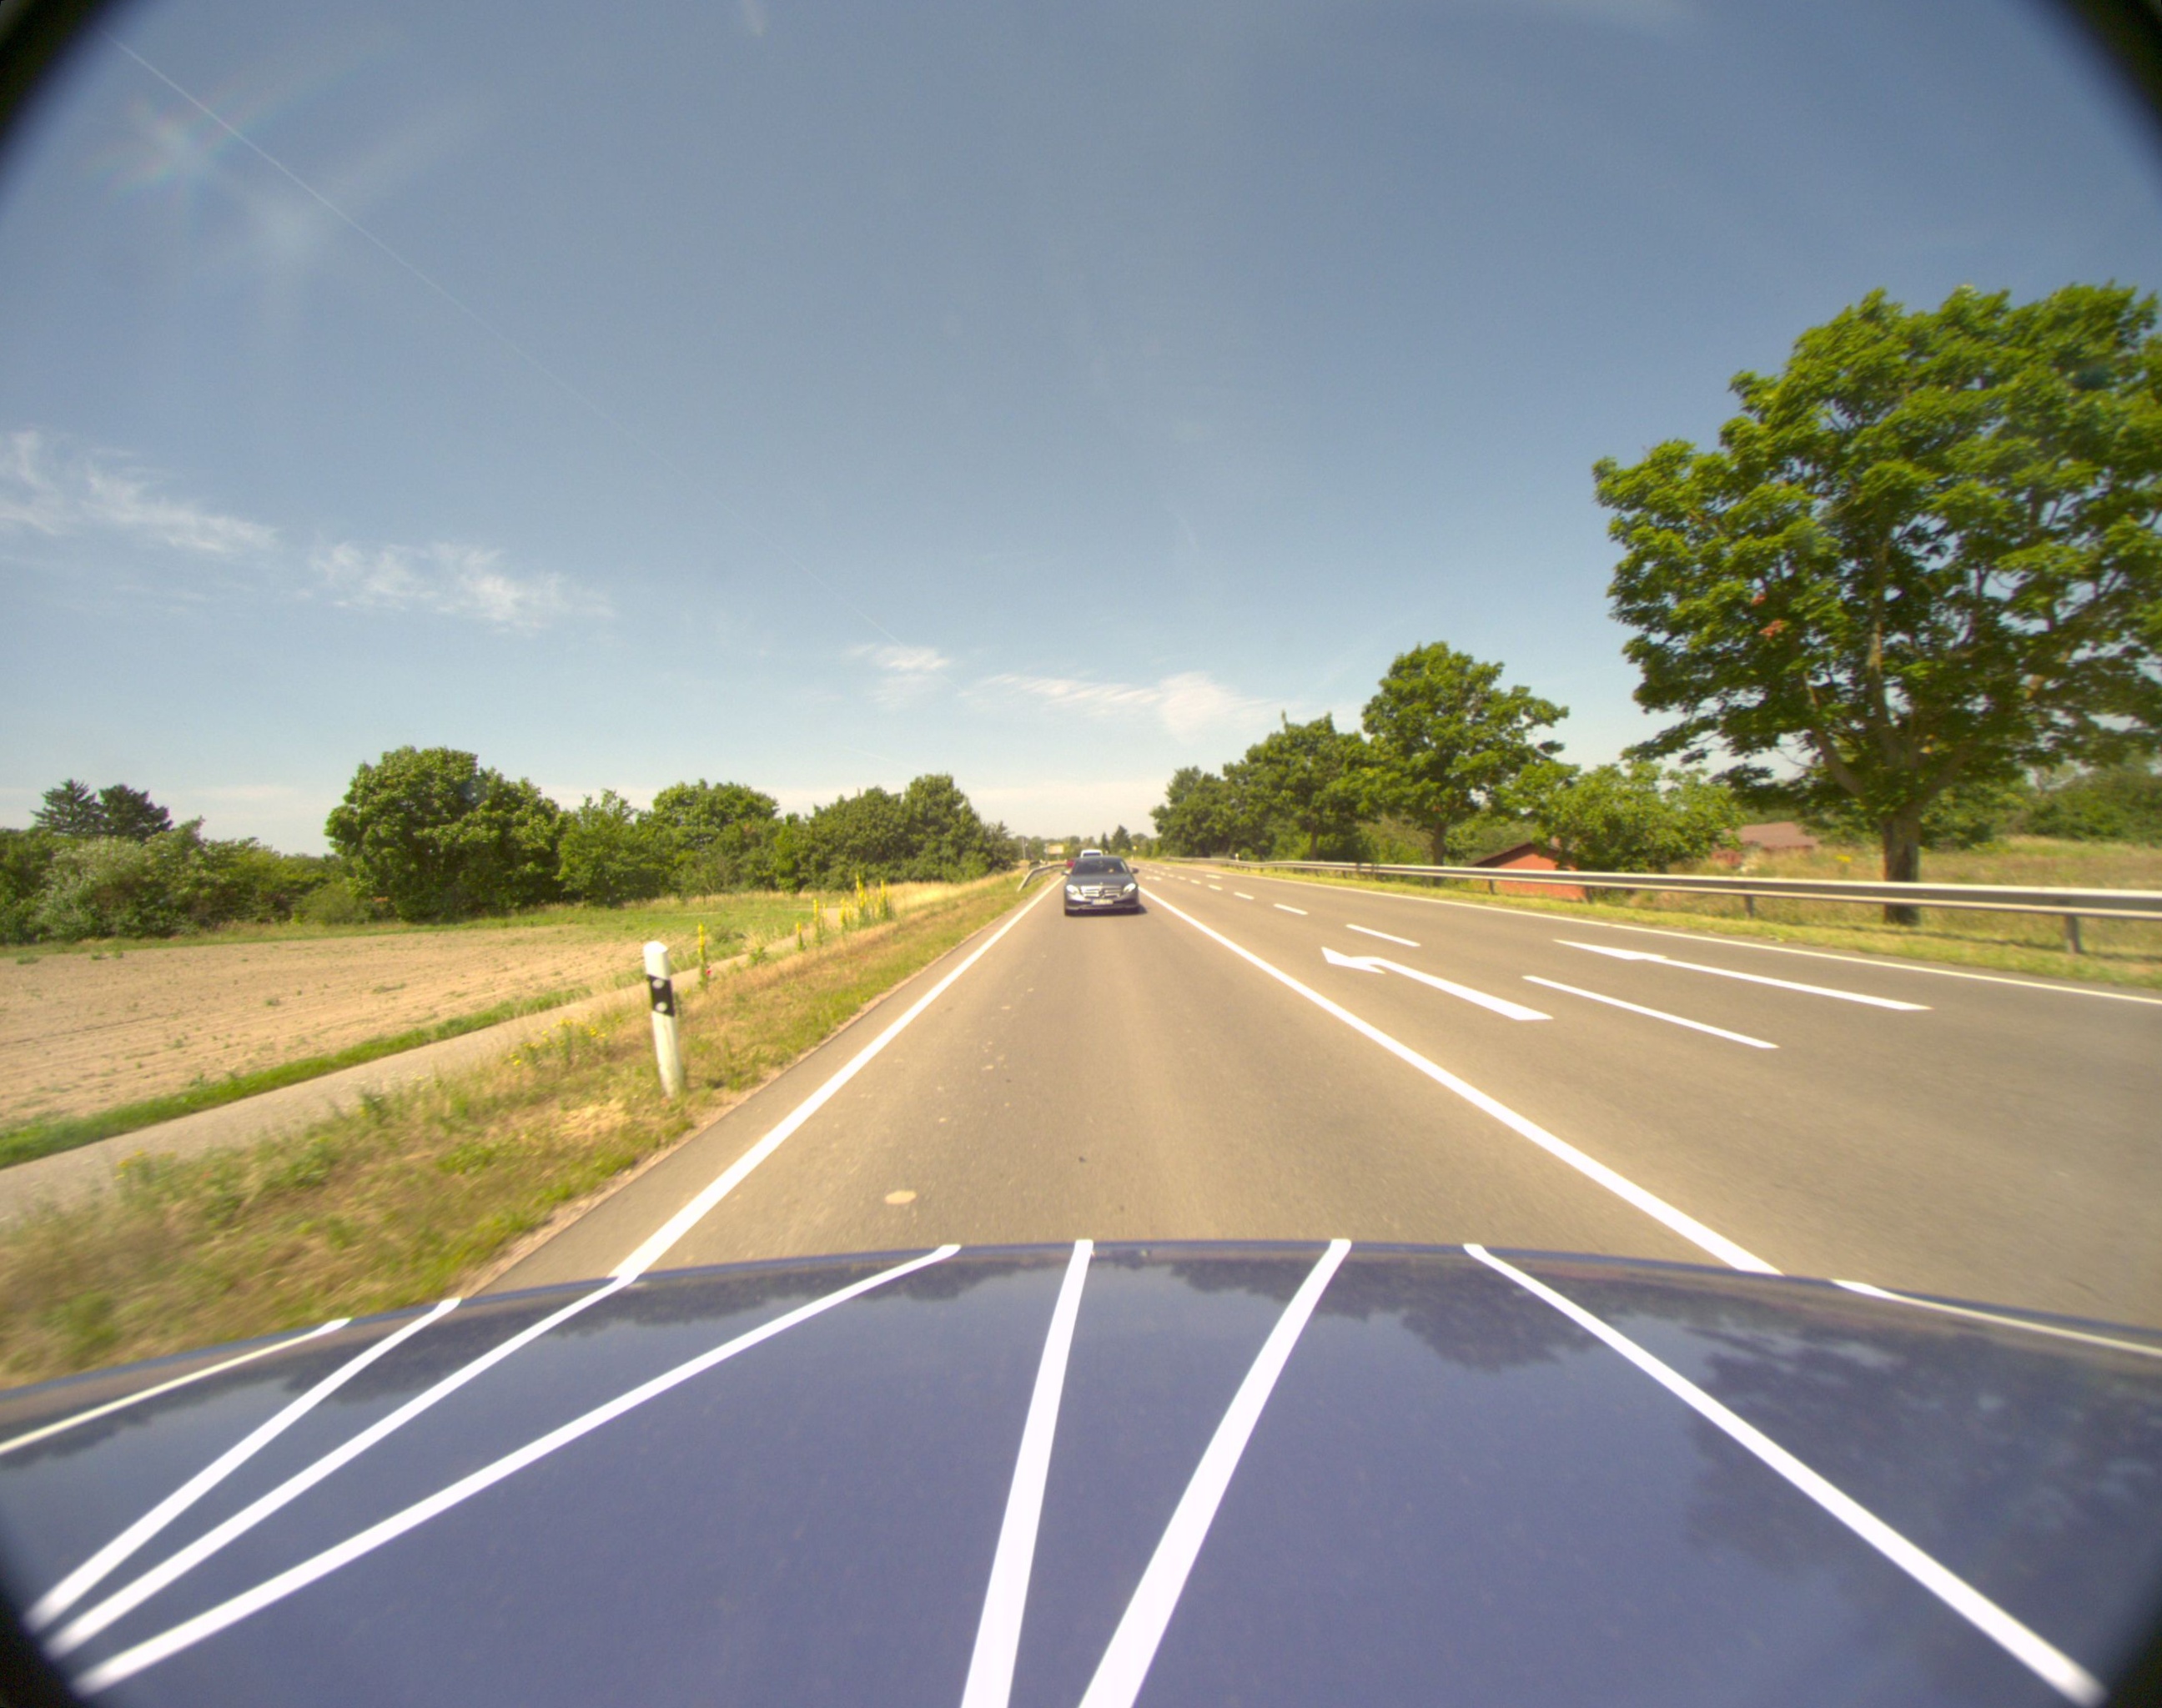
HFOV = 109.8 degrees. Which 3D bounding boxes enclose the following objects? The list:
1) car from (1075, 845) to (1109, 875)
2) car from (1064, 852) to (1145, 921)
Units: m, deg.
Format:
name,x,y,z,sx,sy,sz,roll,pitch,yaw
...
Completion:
name,x,y,z,sx,sy,sz,roll,pitch,yaw
car,0.877,0.421,57.936,2.179,2.002,5.025,-6,0,3
car,0.690,0.783,20.317,1.831,1.540,4.500,-3,0,4
